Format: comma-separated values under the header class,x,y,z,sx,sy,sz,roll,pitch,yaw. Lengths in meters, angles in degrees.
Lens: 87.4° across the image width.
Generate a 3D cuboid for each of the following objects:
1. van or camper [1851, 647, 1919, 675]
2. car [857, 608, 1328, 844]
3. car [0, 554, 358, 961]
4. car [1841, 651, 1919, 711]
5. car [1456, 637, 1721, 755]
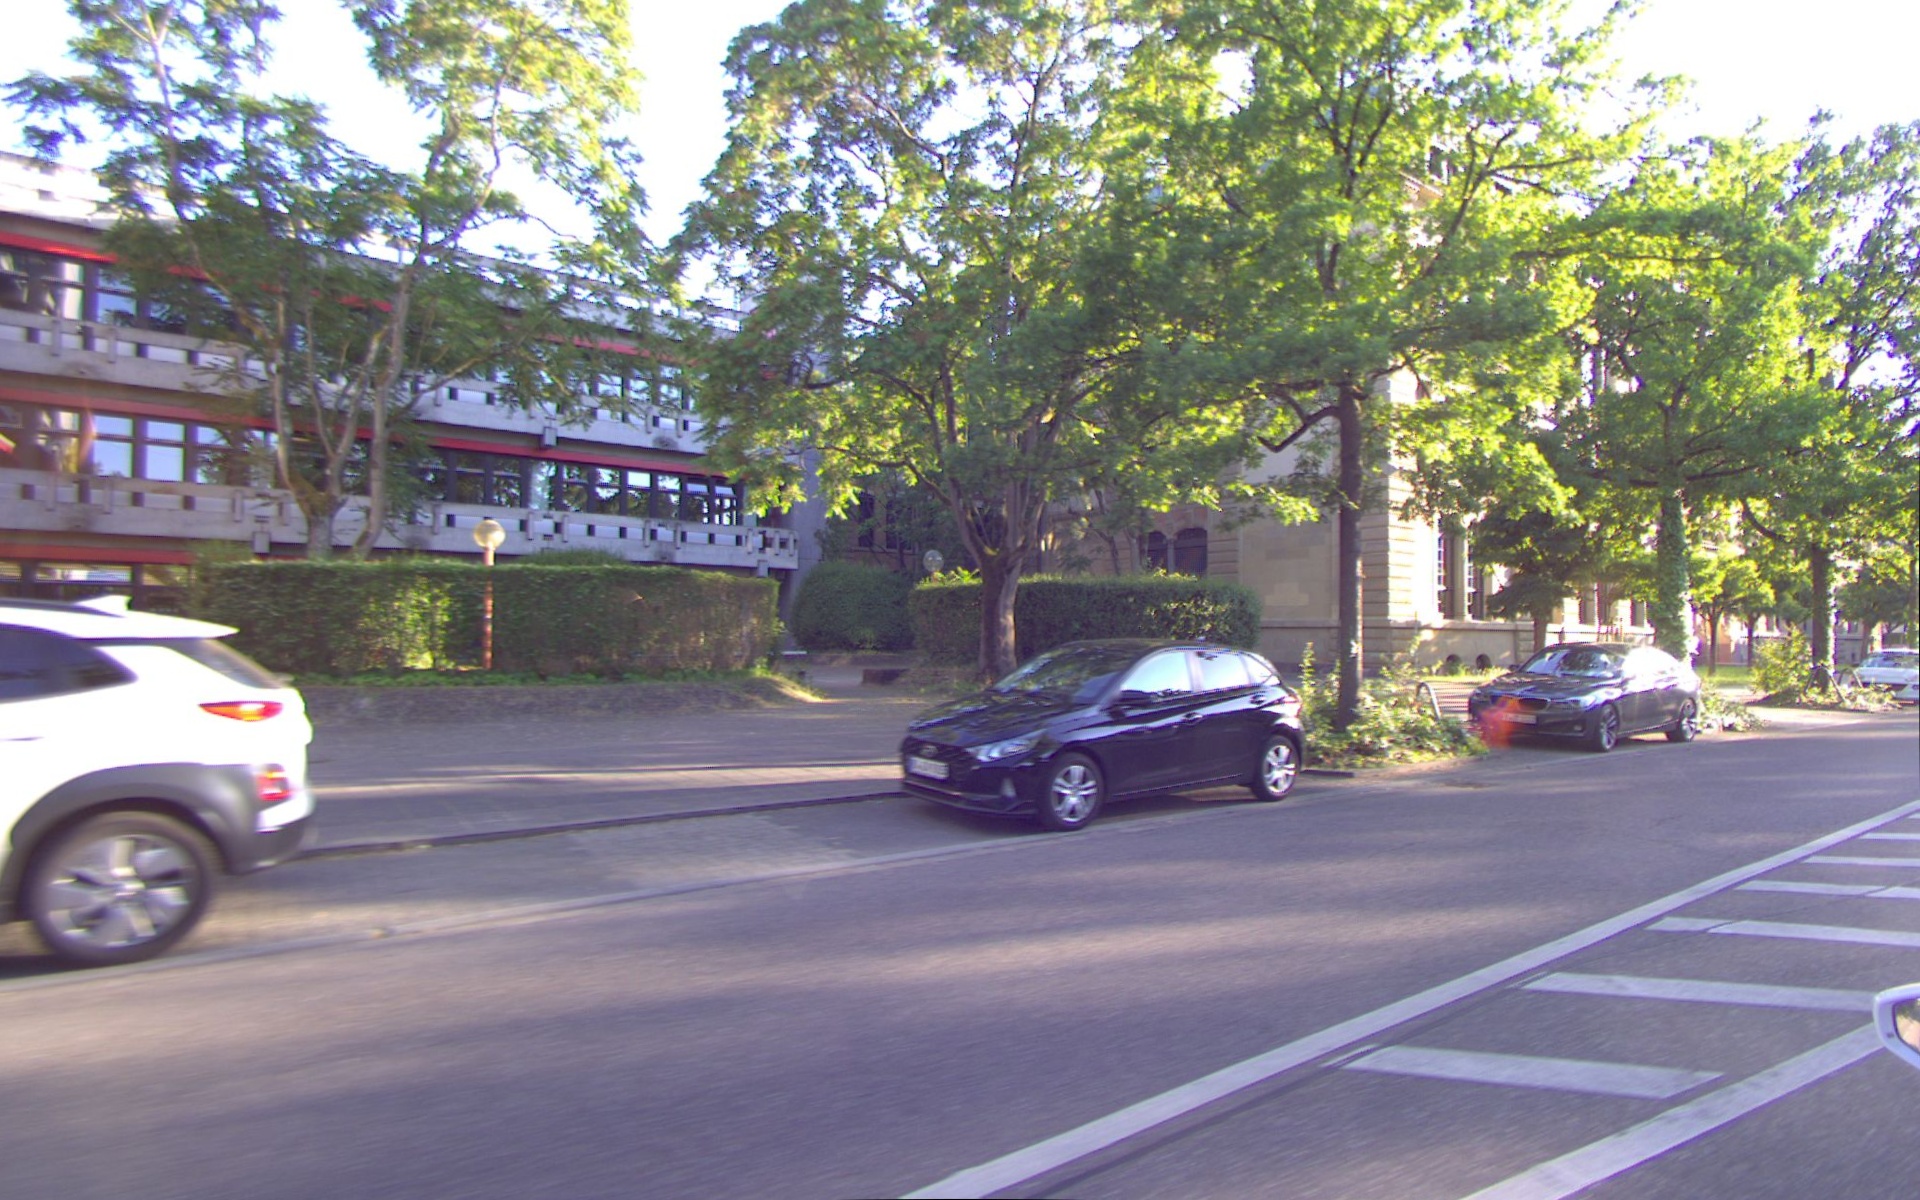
class,x,y,z,sx,sy,sz,roll,pitch,yaw
van or camper,75.528,4.911,81.332,1.979,2.012,4.739,-3,0,-34
car,1.311,0.967,8.960,4.109,1.637,1.767,3,-2,-37
car,-5.061,0.617,4.263,4.109,1.637,1.790,3,-3,-37
car,25.894,2.192,27.763,3.889,1.516,1.606,3,-2,-37
car,9.770,1.396,15.476,4.816,1.530,1.790,3,-2,-36
